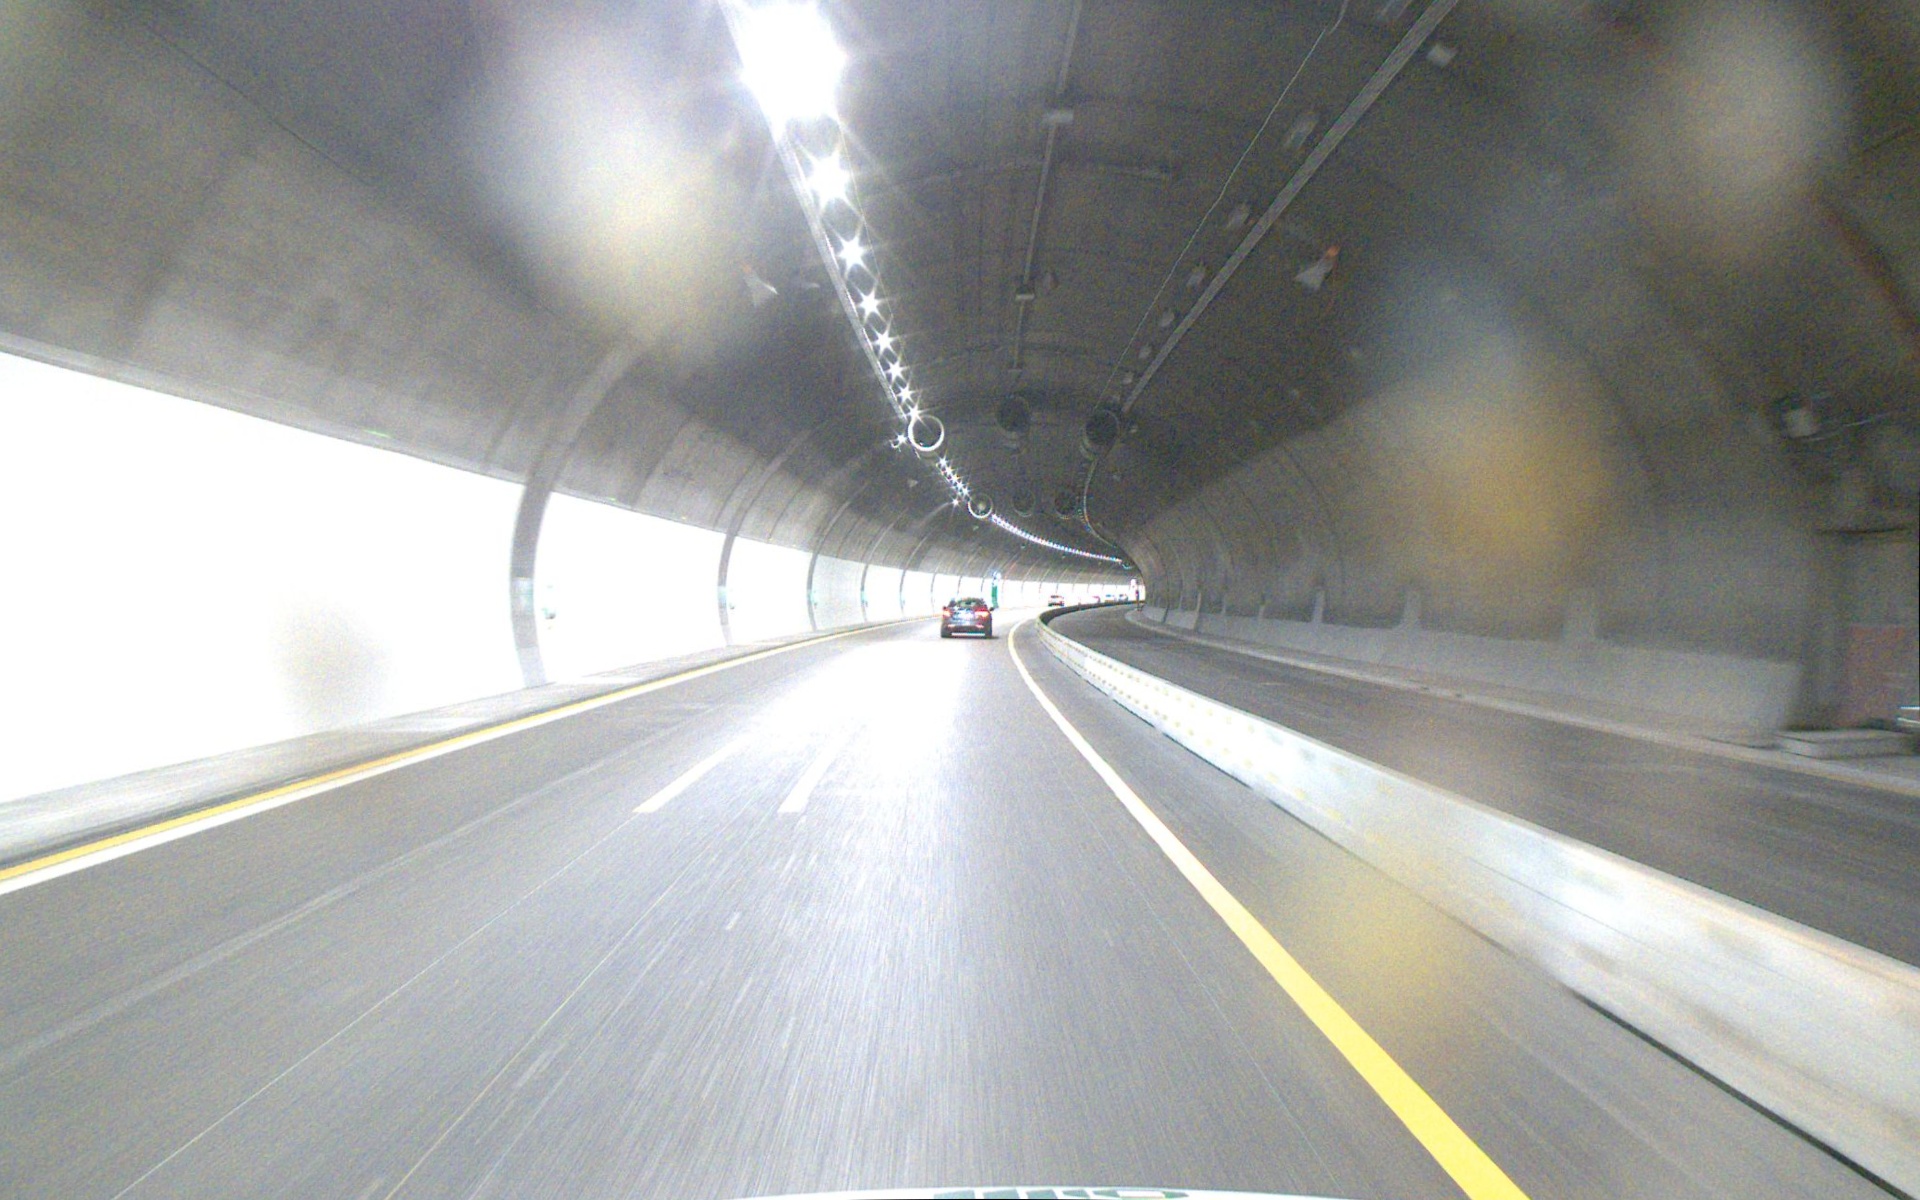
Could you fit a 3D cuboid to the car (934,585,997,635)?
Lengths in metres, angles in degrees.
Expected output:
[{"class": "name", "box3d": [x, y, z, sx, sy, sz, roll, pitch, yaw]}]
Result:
[{"class": "car", "box3d": [0.237, 0.330, 60.251, 2.096, 1.735, 4.002, 1, 0, 3]}]

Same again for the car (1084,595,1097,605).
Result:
[{"class": "car", "box3d": [18.320, 0.051, 232.316, 1.561, 1.356, 3.753, 1, 0, 9]}]

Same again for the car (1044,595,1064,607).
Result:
[{"class": "car", "box3d": [12.092, 0.088, 212.279, 2.119, 1.512, 4.003, 1, 0, 8]}]
